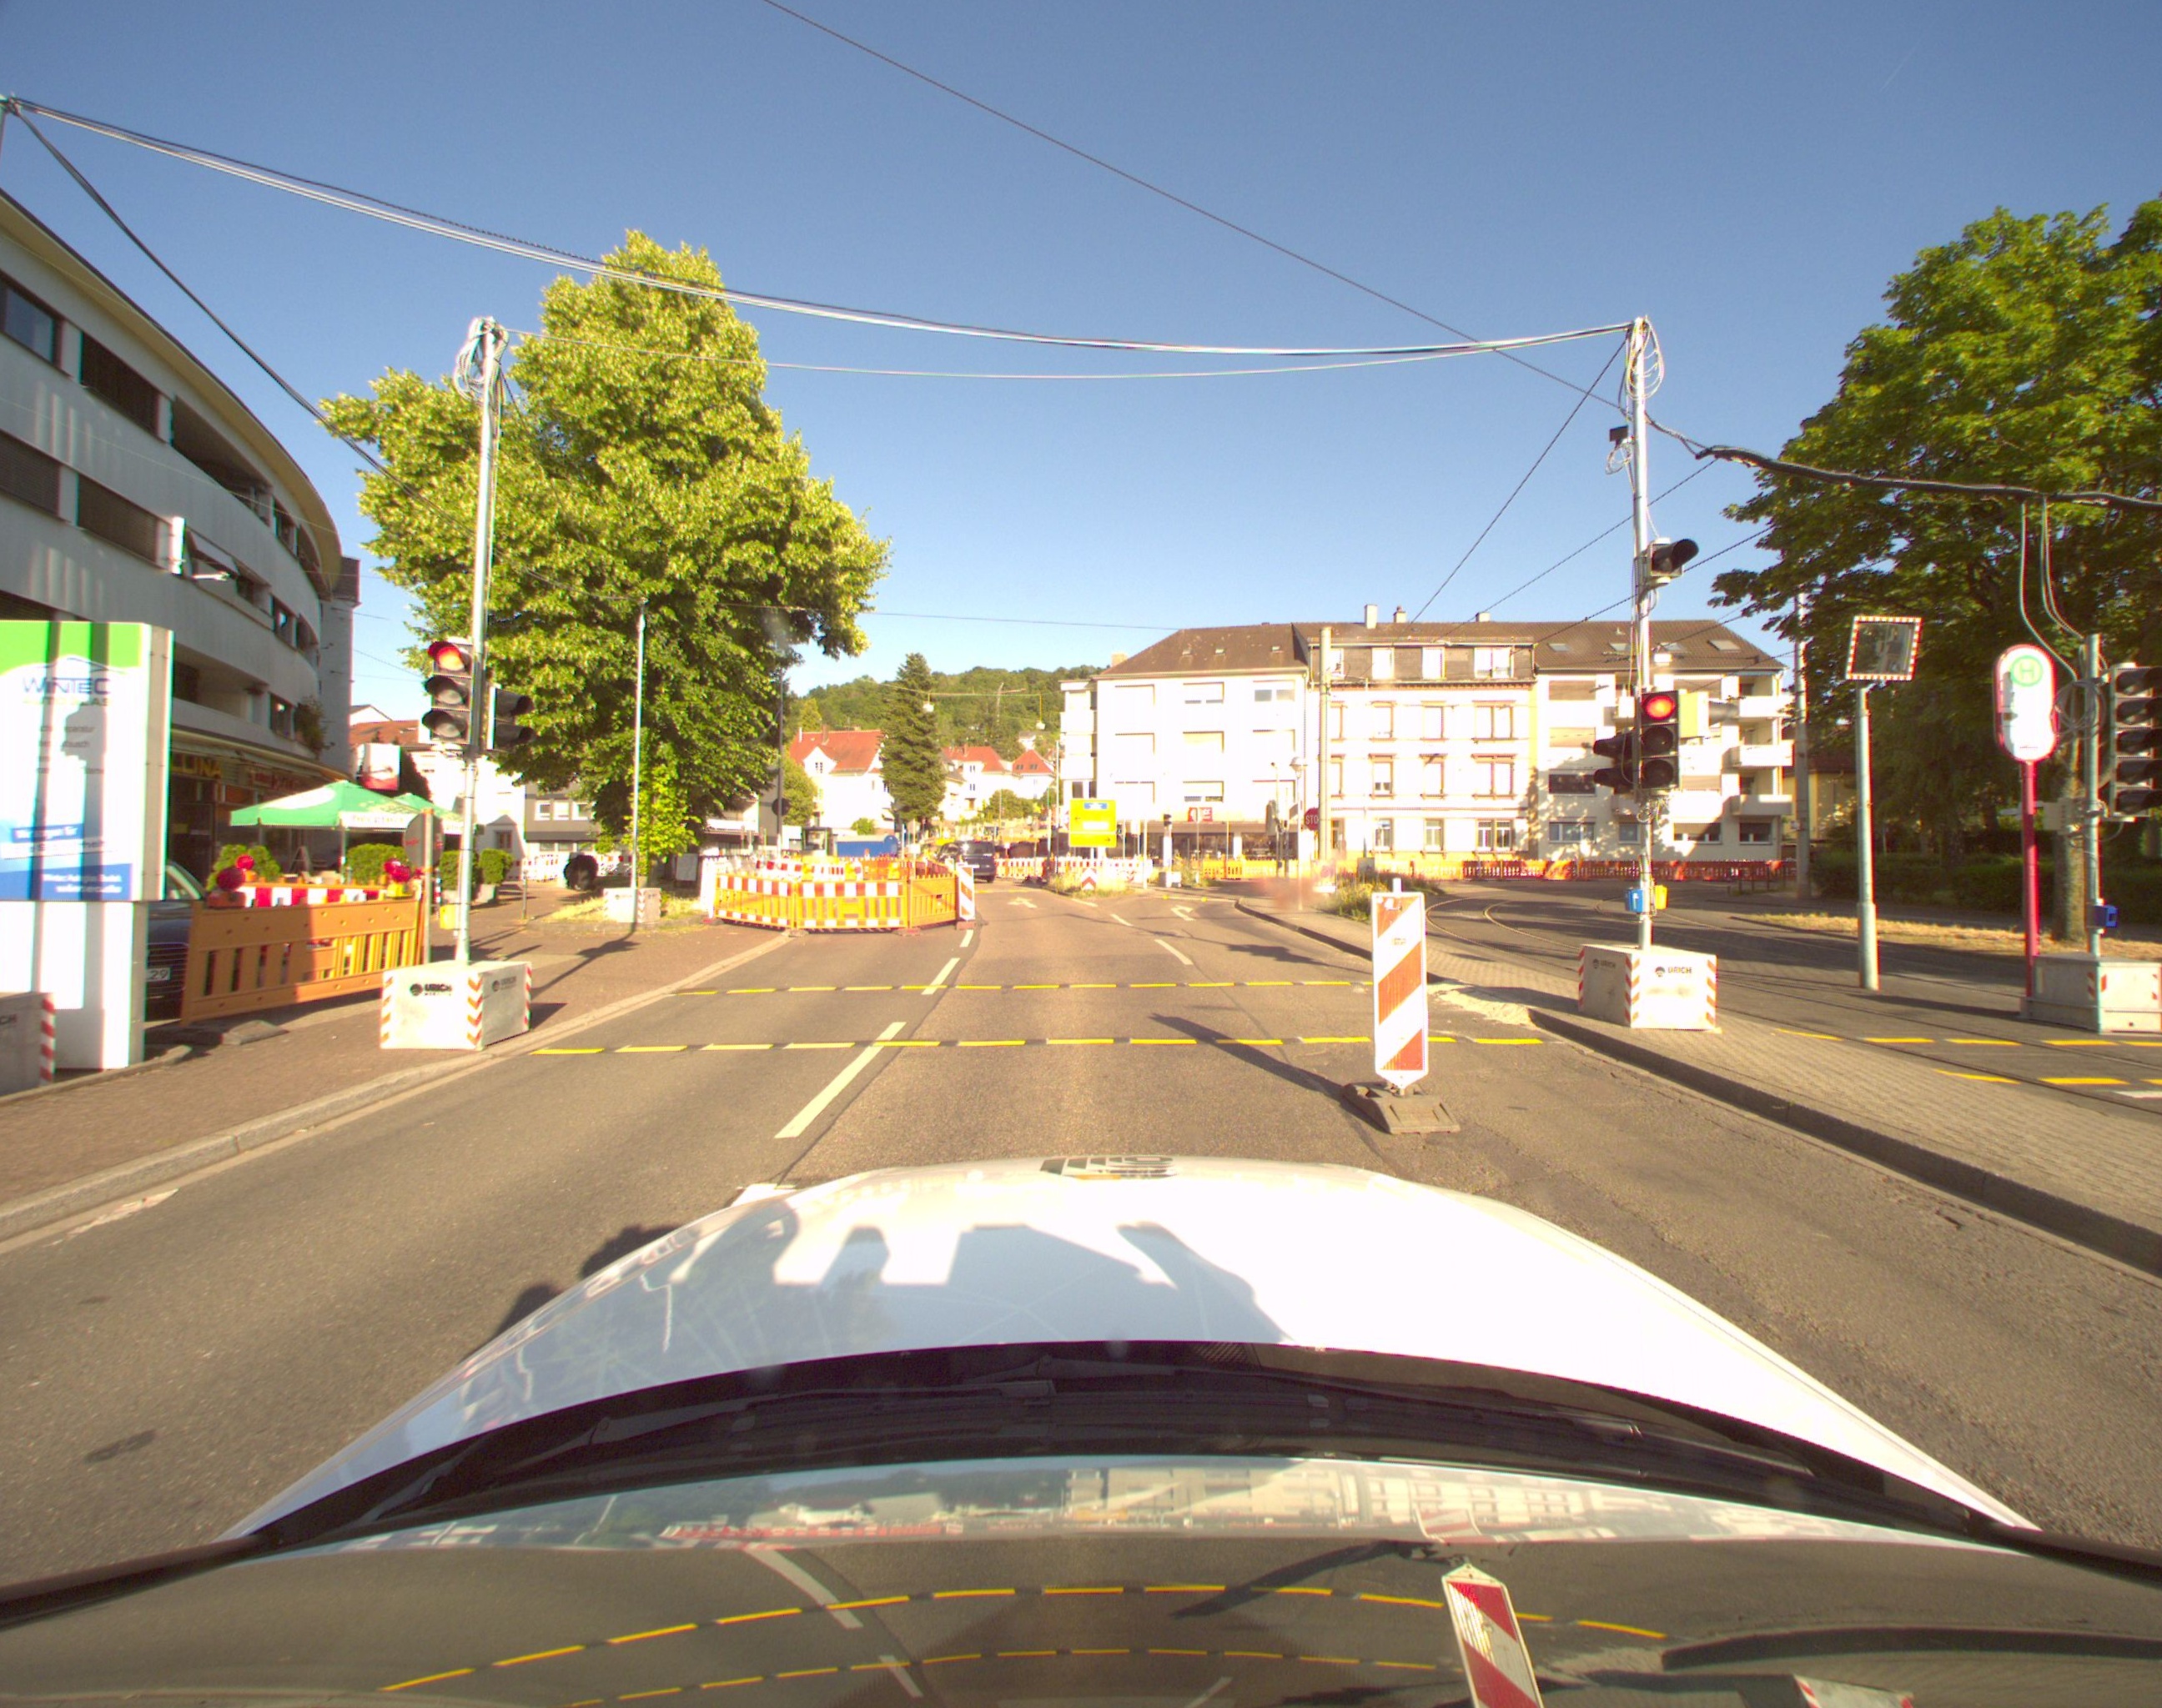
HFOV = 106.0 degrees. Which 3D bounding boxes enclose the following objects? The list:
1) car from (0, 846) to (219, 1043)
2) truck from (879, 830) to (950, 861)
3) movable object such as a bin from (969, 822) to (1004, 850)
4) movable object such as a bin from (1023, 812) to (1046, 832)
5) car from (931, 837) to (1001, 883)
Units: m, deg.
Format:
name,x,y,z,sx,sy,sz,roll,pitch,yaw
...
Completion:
name,x,y,z,sx,sy,sz,roll,pitch,yaw
car,-9.585,0.687,7.899,4.246,1.454,1.660,1,0,43
truck,-14.031,-0.679,69.520,2.340,2.415,9.184,0,0,13
movable object such as a bin,-9.289,-1.769,80.203,2.176,2.690,4.013,0,0,12
movable object such as a bin,-6.516,-4.463,114.531,2.176,2.690,4.013,0,0,12
car,-5.593,0.220,39.140,2.071,2.013,4.961,0,1,-24
